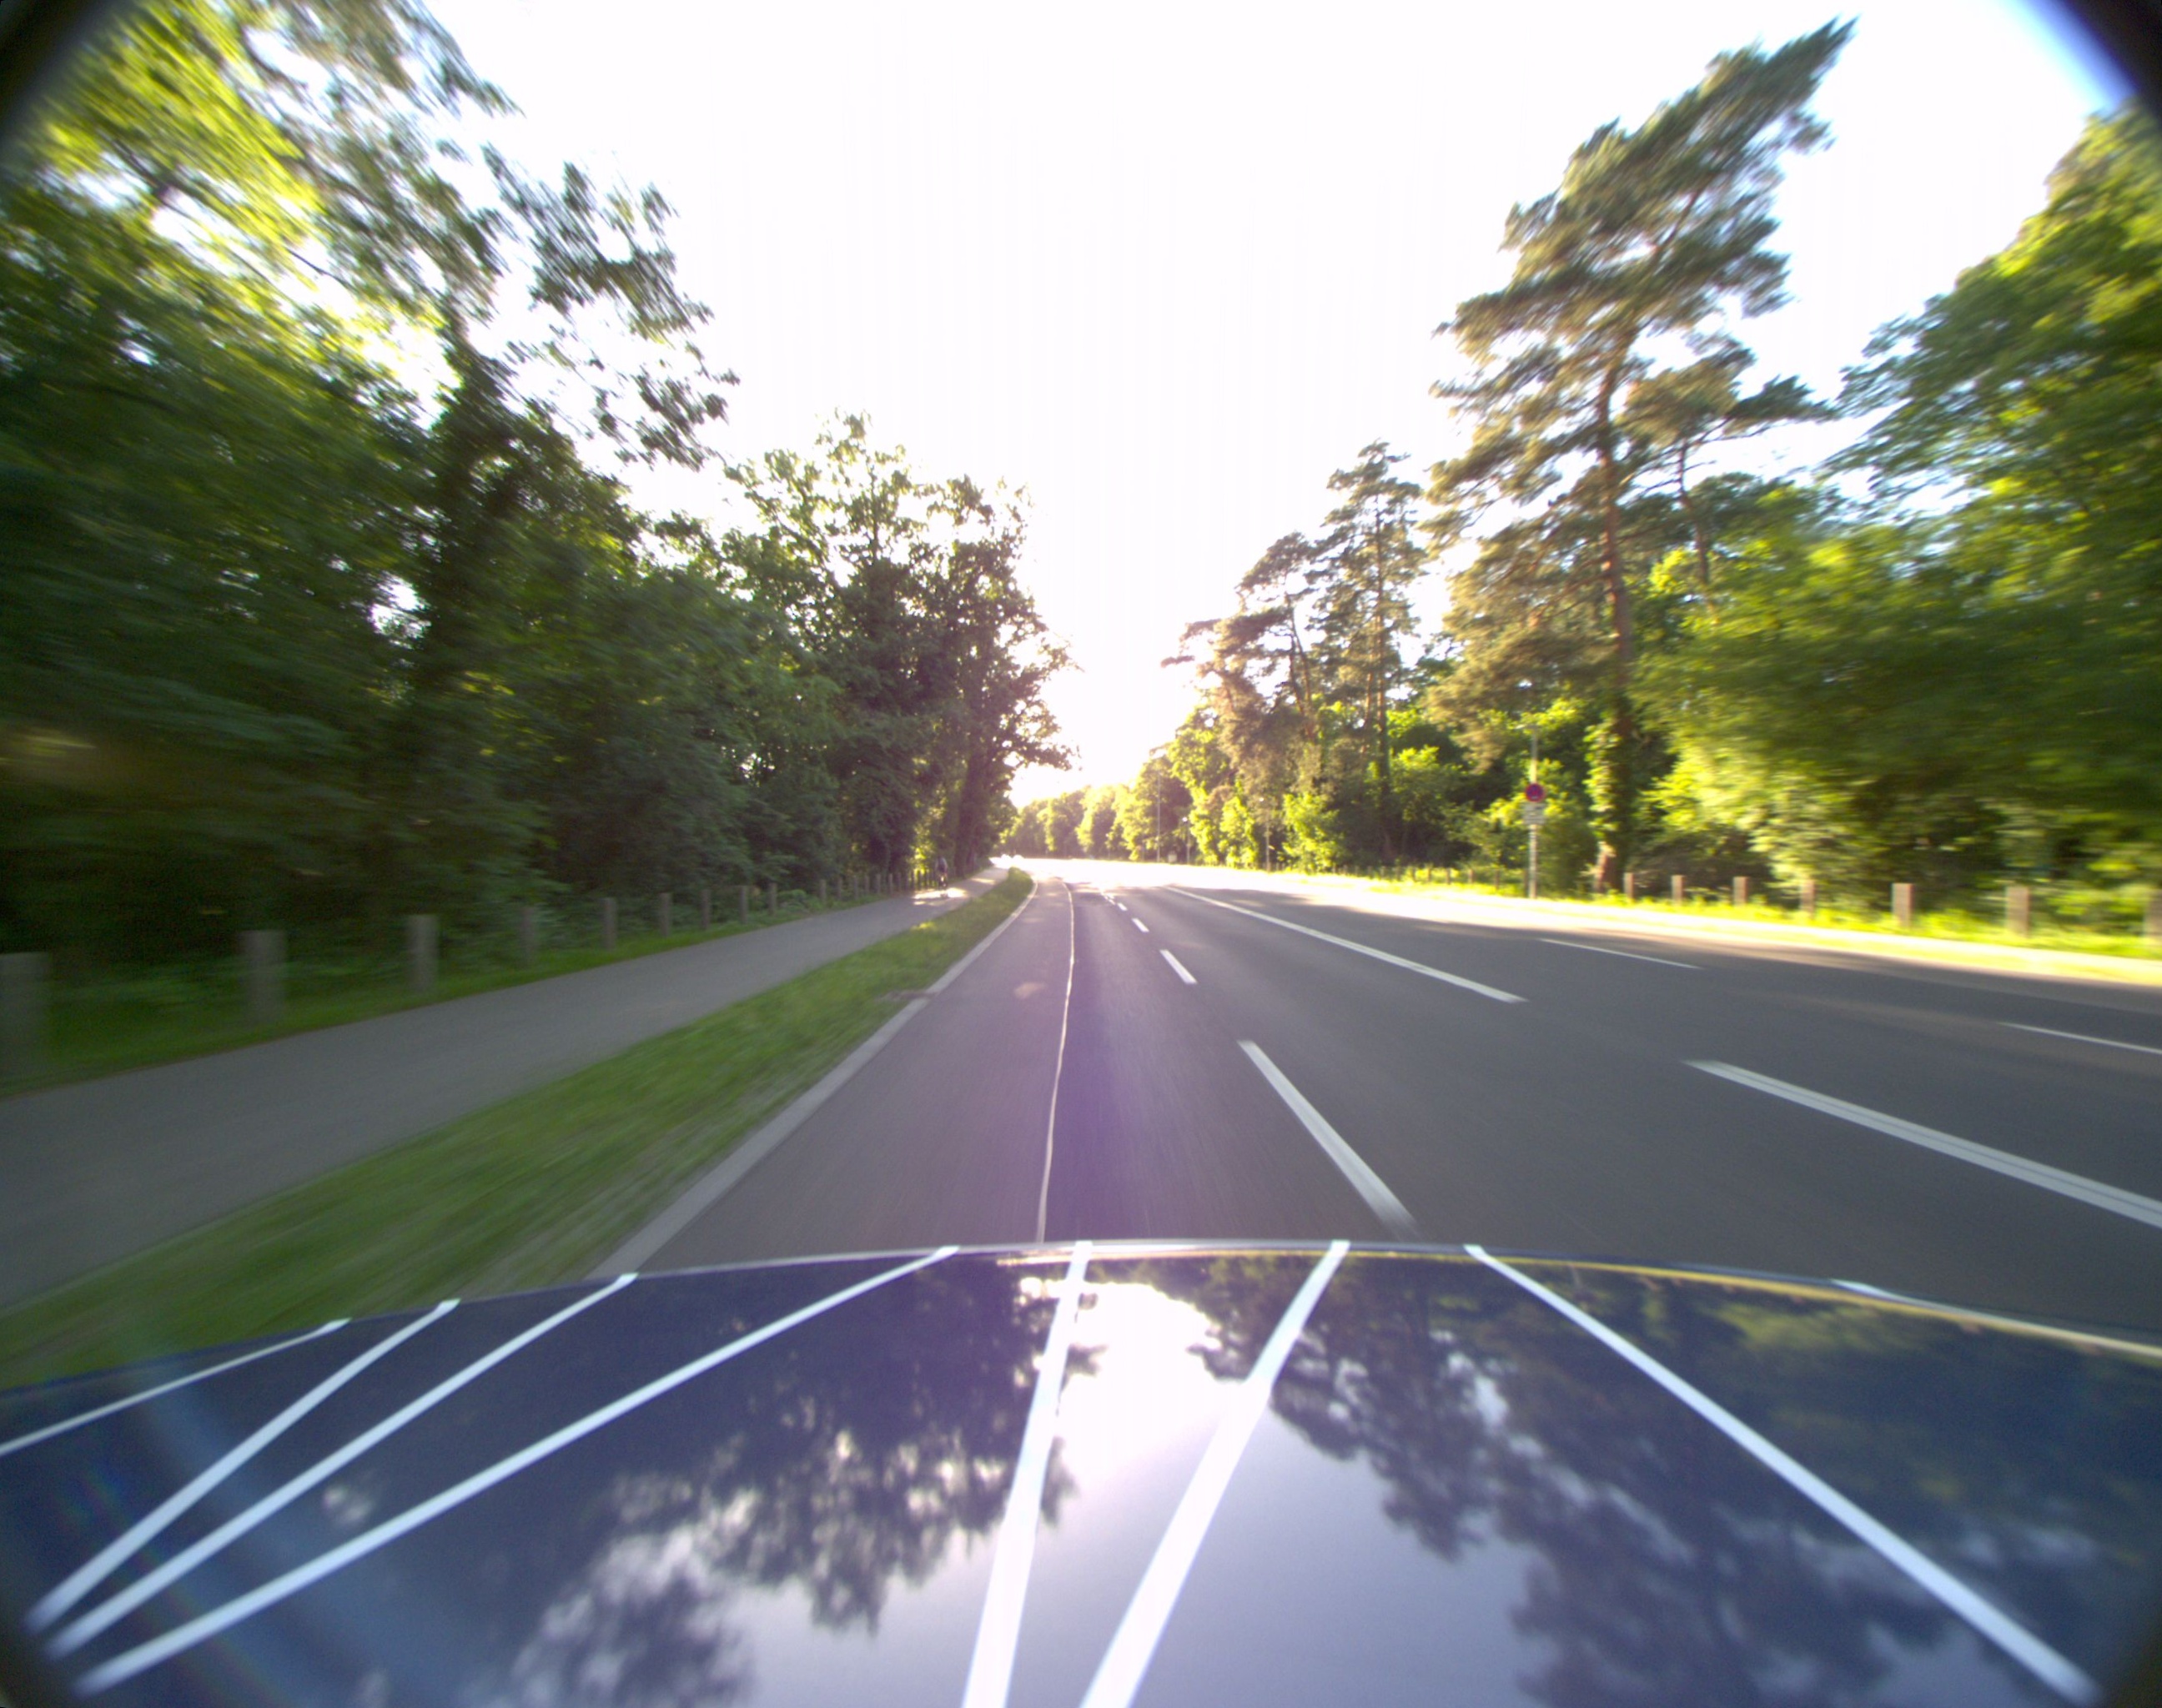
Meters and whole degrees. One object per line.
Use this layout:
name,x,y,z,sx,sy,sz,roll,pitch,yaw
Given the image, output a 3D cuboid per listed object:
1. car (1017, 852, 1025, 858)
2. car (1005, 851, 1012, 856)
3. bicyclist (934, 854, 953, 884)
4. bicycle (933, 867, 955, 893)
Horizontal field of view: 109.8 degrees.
car,-16.678,0.306,211.823,1.828,1.674,3.996,-1,0,-11
car,-22.951,-0.088,241.310,1.828,1.674,3.996,-1,0,-11
bicyclist,-5.985,0.659,33.105,0.714,1.281,1.104,-1,0,-5
bicycle,-5.978,1.105,33.172,0.714,1.049,2.052,-1,0,-5
